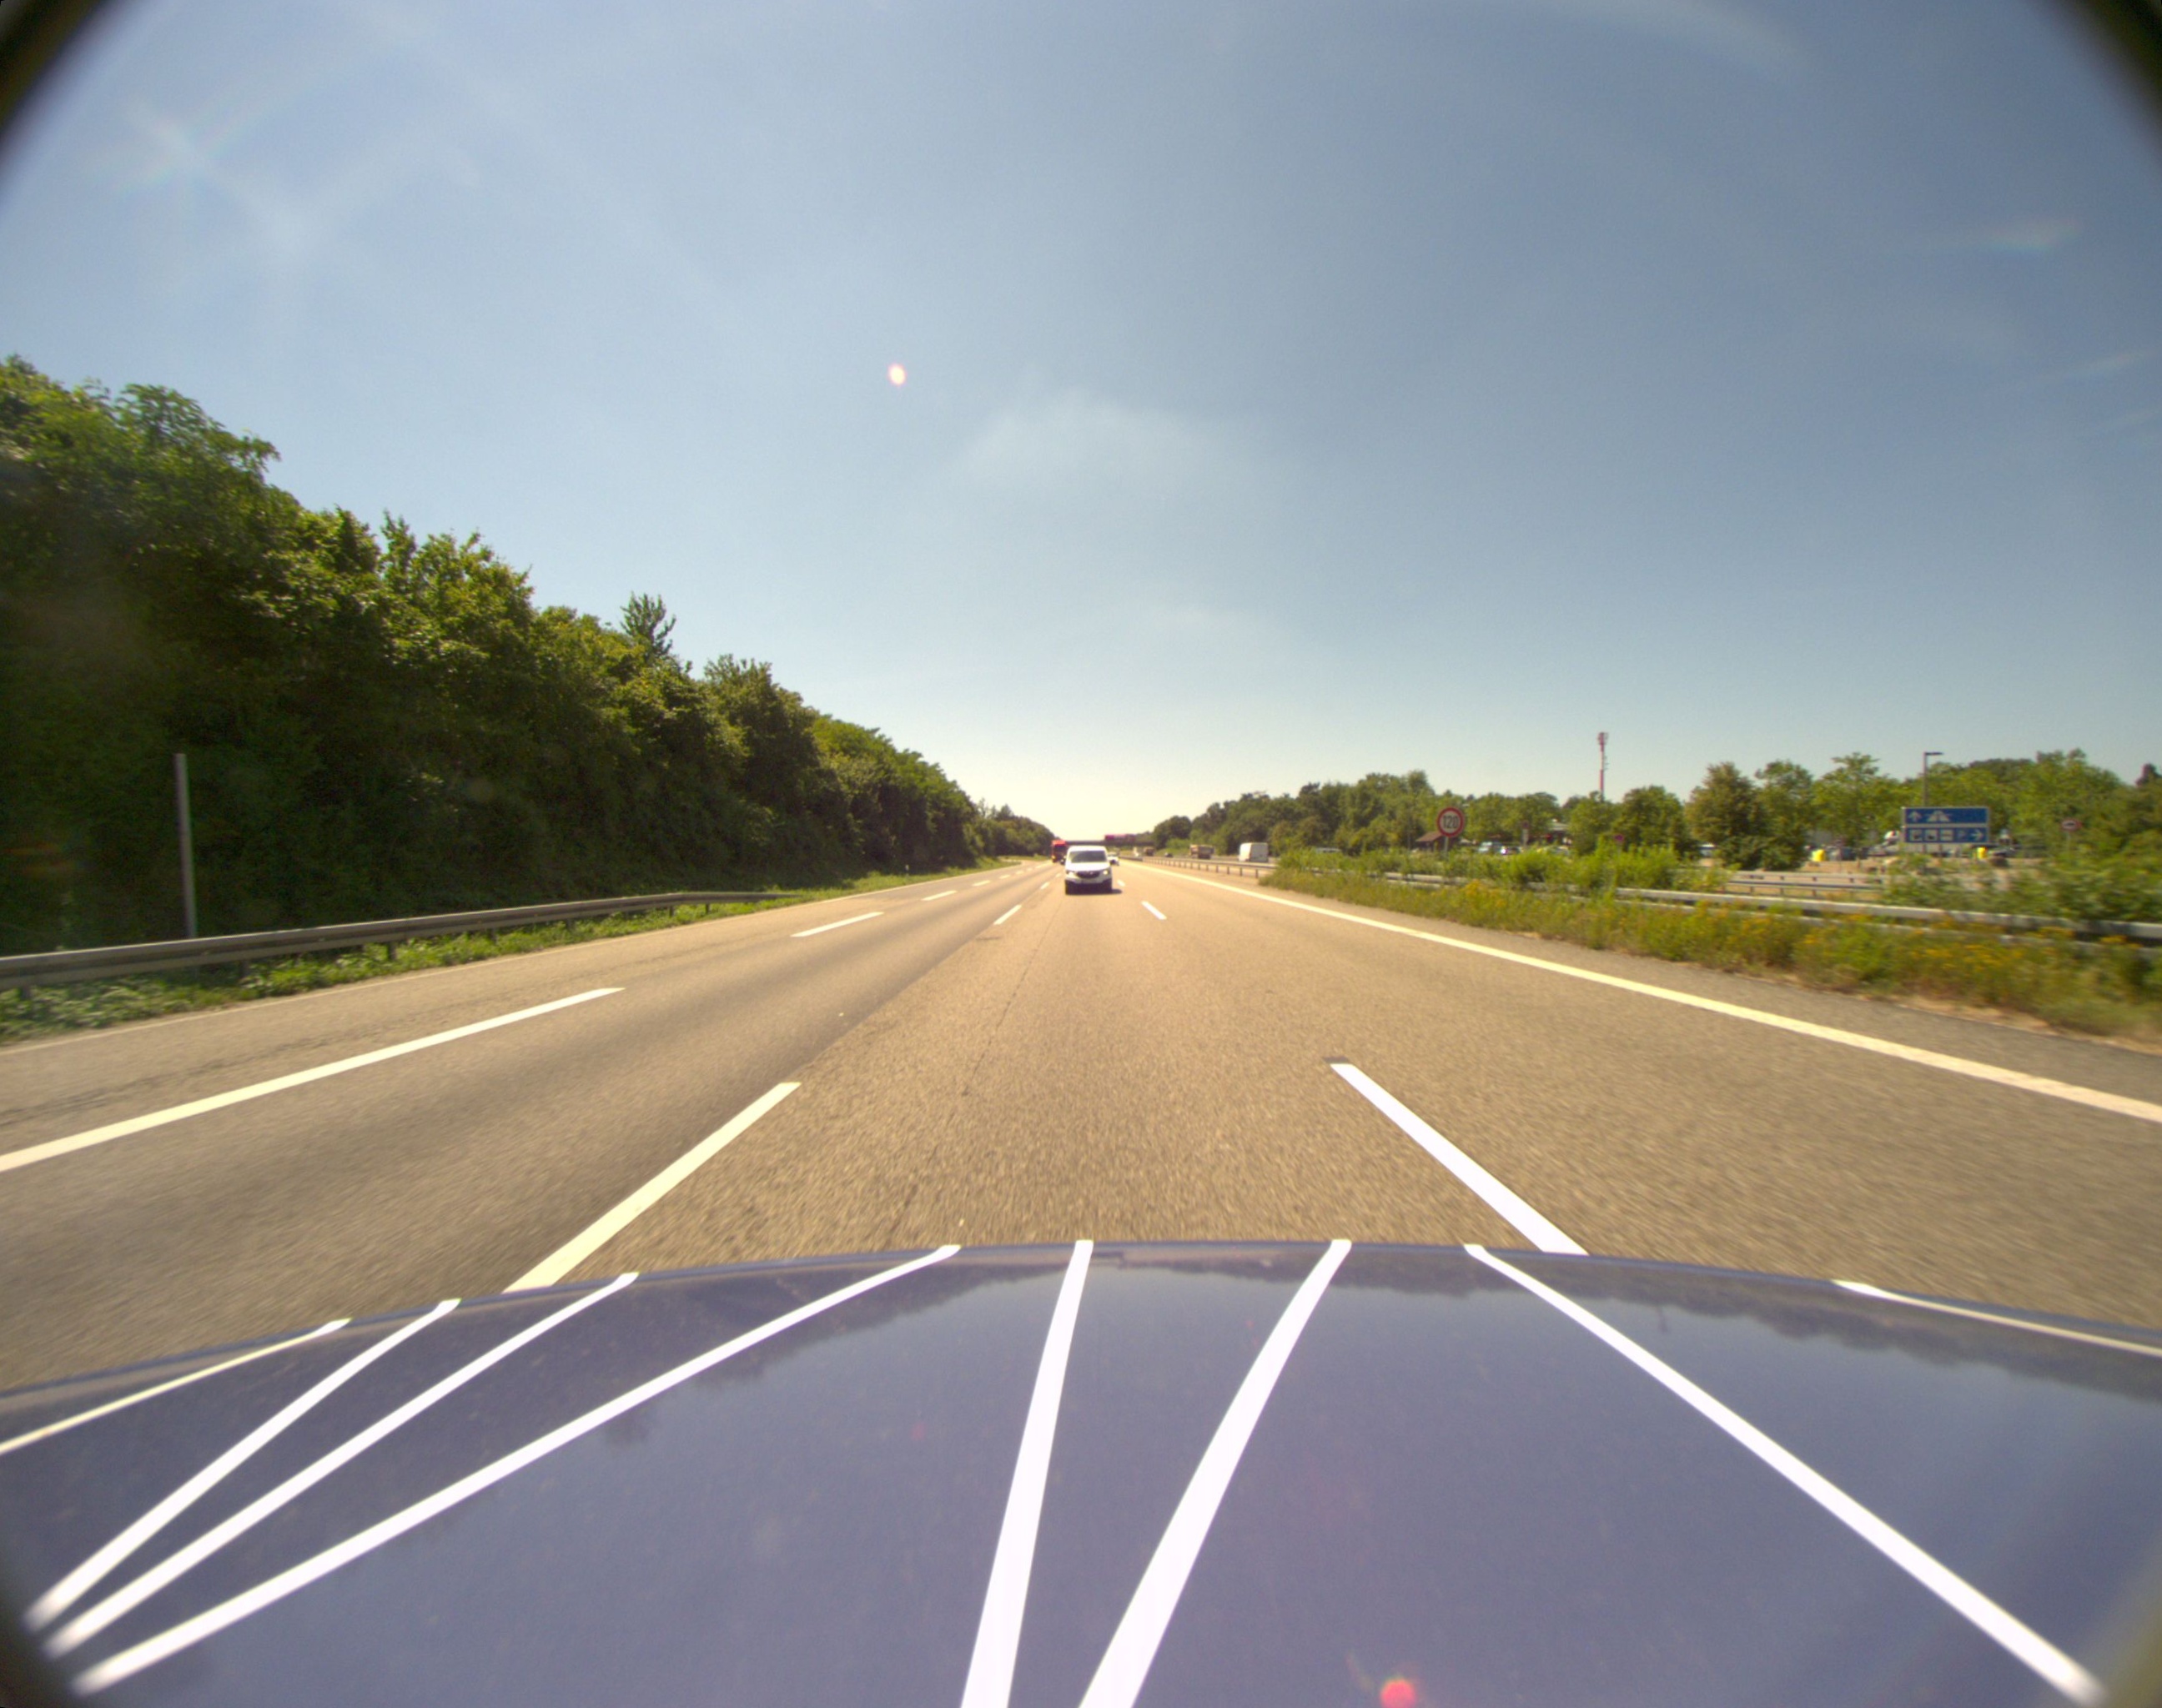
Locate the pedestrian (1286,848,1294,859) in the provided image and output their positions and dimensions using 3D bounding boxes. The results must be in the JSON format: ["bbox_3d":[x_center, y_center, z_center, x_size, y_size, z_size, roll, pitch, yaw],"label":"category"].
[{"bbox_3d":[30.672,-0.051,111.430,0.757,1.509,0.758,-3,1,-8],"label":"pedestrian"}]

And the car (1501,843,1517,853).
[{"bbox_3d":[74.710,-0.995,132.618,3.118,1.599,1.493,-3,1,-42],"label":"car"}]

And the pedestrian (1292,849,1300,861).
[{"bbox_3d":[29.853,0.094,105.528,0.677,1.598,0.875,-3,1,-7],"label":"pedestrian"}]

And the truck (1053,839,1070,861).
[{"bbox_3d":[-3.261,-0.739,130.335,2.540,3.656,5.219,-3,1,1],"label":"truck"}]

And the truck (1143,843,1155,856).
[{"bbox_3d":[22.196,-1.546,249.217,2.872,3.792,11.488,-3,1,0],"label":"truck"}]

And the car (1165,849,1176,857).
[{"bbox_3d":[18.497,-0.232,156.910,1.750,1.705,4.484,-3,1,0],"label":"car"}]

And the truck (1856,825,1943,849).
[{"bbox_3d":[96.465,-1.946,89.618,2.143,2.478,6.914,-4,1,-41],"label":"truck"}]

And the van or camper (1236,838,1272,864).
[{"bbox_3d":[18.438,-0.327,81.399,2.424,2.567,6.366,-1,1,0],"label":"van or camper"}]

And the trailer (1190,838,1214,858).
[{"bbox_3d":[22.402,-1.197,140.939,2.789,3.495,9.369,-3,1,0],"label":"trailer"}]

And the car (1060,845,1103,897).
[{"bbox_3d":[0.022,0.596,29.330,1.501,1.799,3.393,-3,1,0],"label":"car"}]

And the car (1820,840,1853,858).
[{"bbox_3d":[73.741,-0.526,74.208,1.544,1.599,3.284,-2,1,31],"label":"car"}]

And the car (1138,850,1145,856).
[{"bbox_3d":[18.514,-0.193,231.358,1.811,1.703,4.508,-3,1,0],"label":"car"}]

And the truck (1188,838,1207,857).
[{"bbox_3d":[22.438,-1.264,146.485,2.789,3.495,5.645,-3,1,0],"label":"truck"}]

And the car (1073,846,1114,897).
[{"bbox_3d":[0.477,0.612,29.145,1.413,1.795,3.200,-3,1,0],"label":"car"}]

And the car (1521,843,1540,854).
[{"bbox_3d":[74.395,-0.899,125.659,3.117,1.600,1.494,-3,1,-35],"label":"car"}]

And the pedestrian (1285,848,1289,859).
[{"bbox_3d":[30.436,-0.113,112.410,0.473,1.598,0.500,-2,1,15],"label":"pedestrian"}]

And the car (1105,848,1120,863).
[{"bbox_3d":[3.492,0.156,85.328,1.586,1.497,3.793,-3,1,1],"label":"car"}]

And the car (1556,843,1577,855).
[{"bbox_3d":[74.680,-0.771,116.853,3.444,1.599,1.557,-3,1,-35],"label":"car"}]

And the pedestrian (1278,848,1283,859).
[{"bbox_3d":[29.335,-0.055,111.868,0.645,1.598,0.656,-2,1,12],"label":"pedestrian"}]

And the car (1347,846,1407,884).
[{"bbox_3d":[14.584,0.494,37.621,1.707,1.700,3.589,-2,1,4],"label":"car"}]

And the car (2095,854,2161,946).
[{"bbox_3d":[17.638,0.747,10.687,1.546,1.416,3.852,1,1,-1],"label":"car"}]
